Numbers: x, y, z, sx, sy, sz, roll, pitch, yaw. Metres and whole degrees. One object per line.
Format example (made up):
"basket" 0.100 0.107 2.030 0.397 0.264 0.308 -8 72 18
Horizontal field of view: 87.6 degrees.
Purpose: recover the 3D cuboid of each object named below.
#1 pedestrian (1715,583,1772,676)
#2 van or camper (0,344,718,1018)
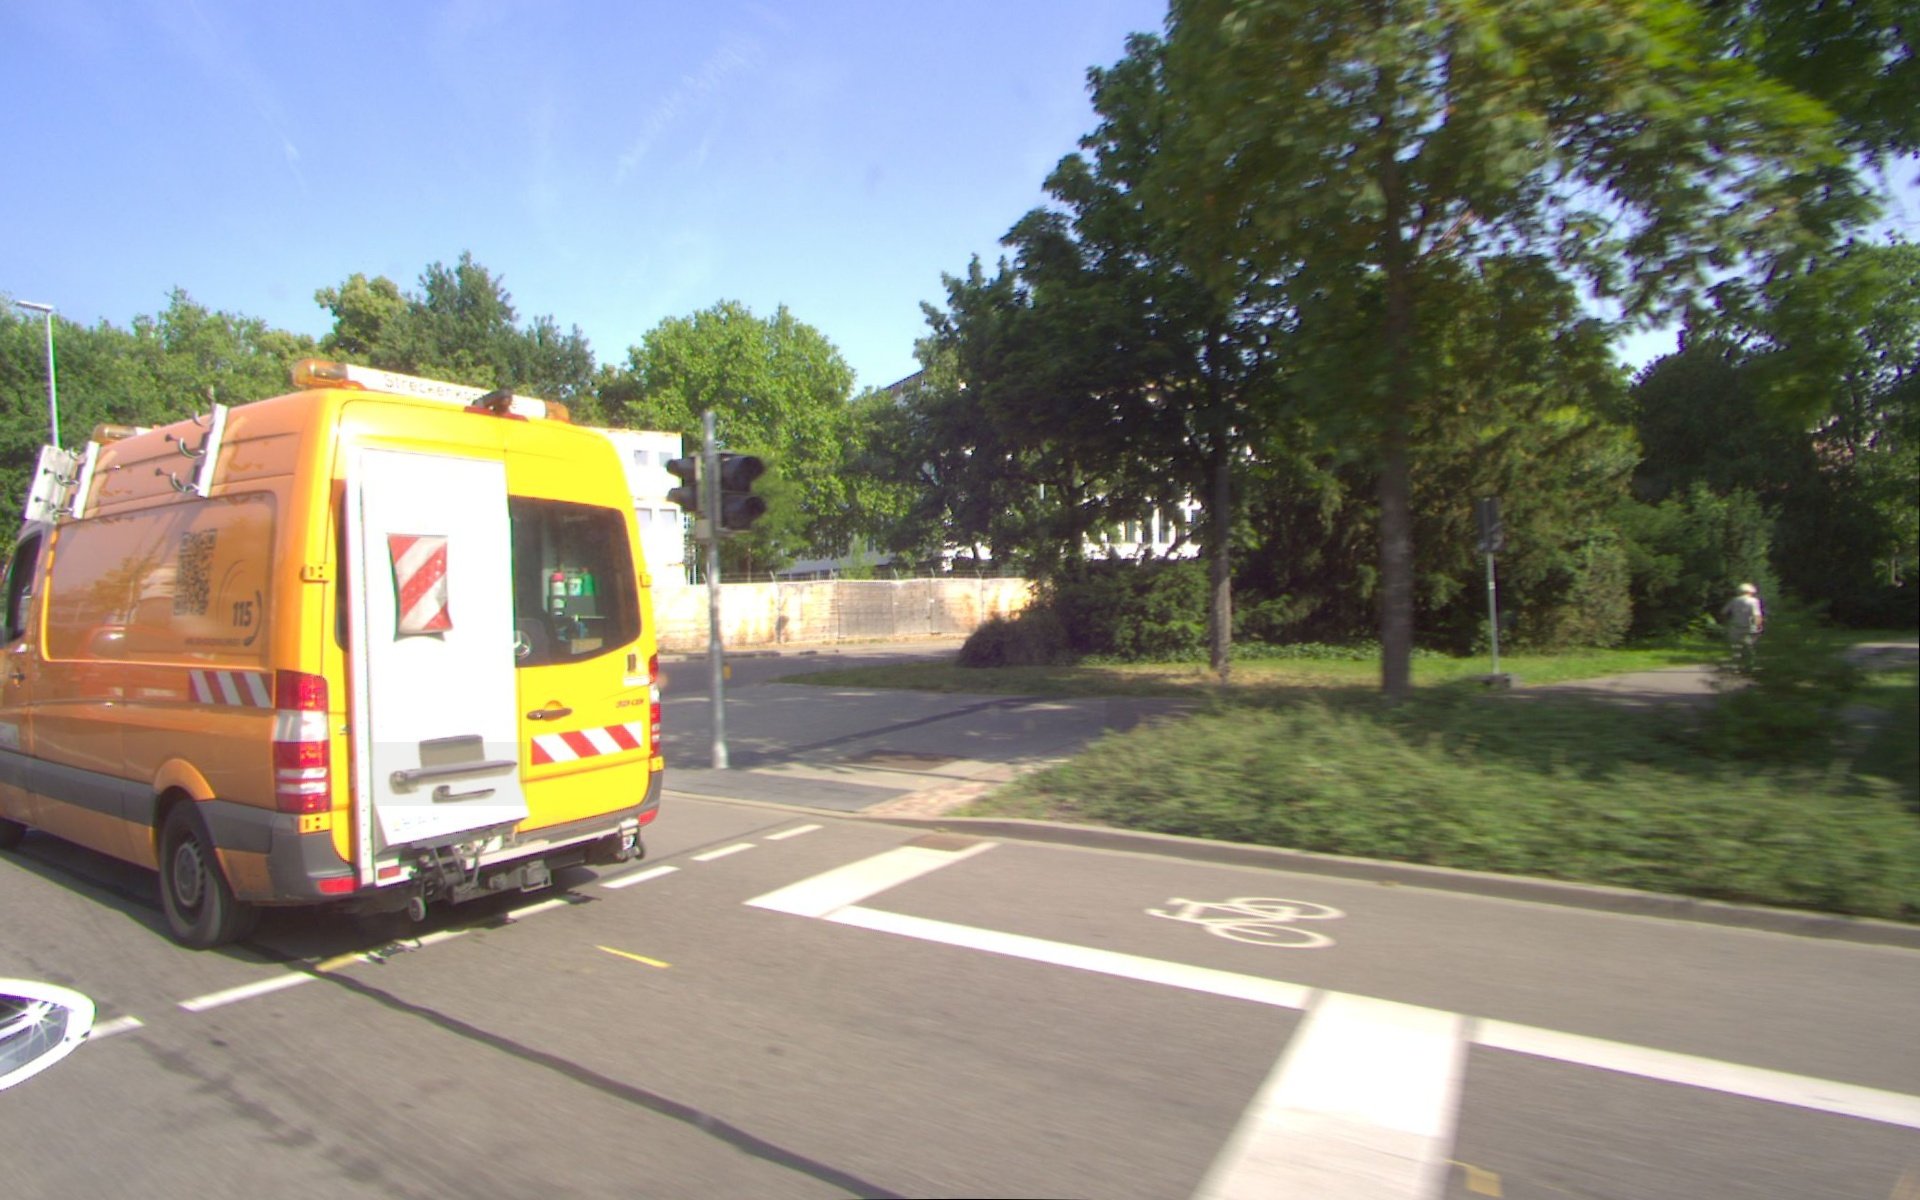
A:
"pedestrian" 13.215 0.486 16.898 0.659 1.538 0.532 -1 1 -26
"van or camper" -4.312 0.348 6.248 5.978 2.504 1.981 0 -1 35
